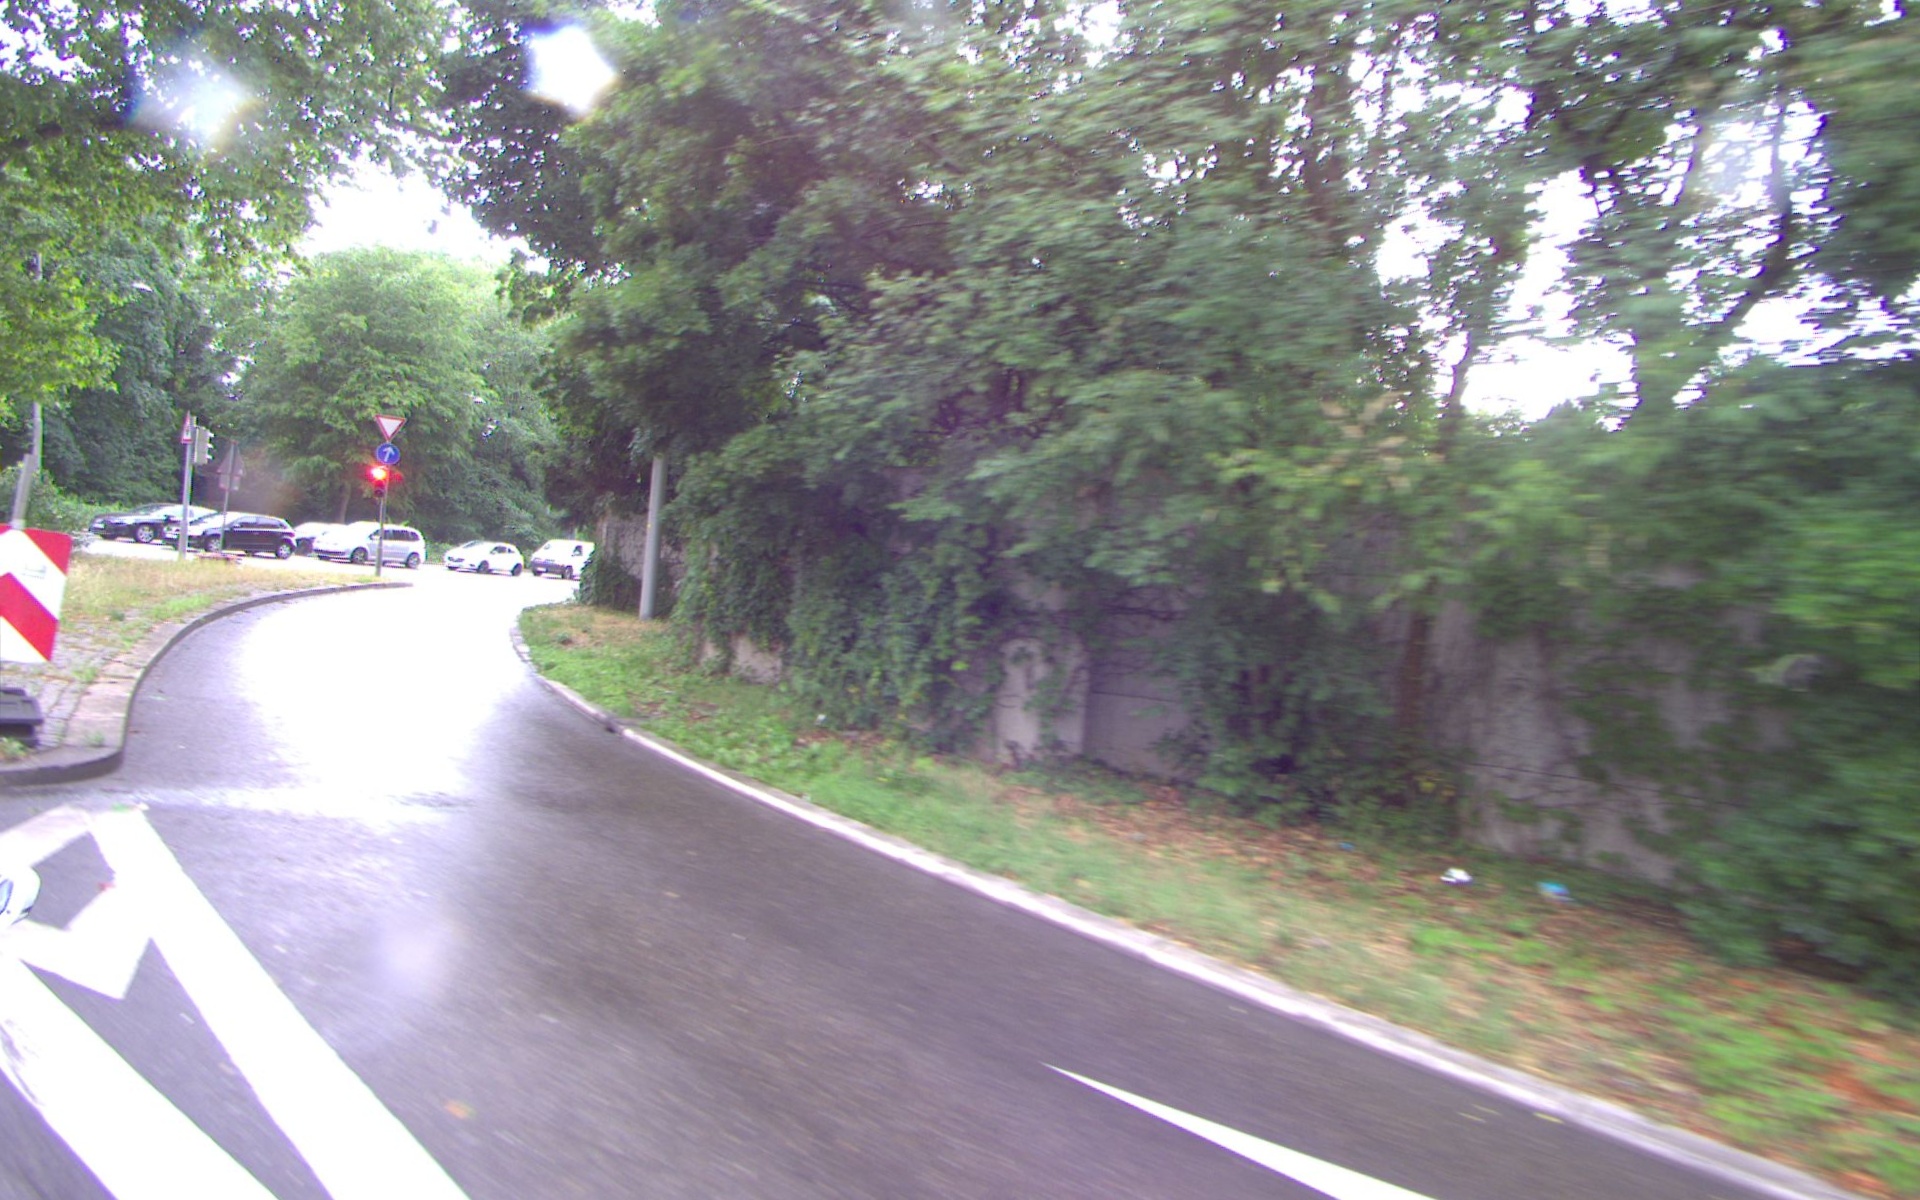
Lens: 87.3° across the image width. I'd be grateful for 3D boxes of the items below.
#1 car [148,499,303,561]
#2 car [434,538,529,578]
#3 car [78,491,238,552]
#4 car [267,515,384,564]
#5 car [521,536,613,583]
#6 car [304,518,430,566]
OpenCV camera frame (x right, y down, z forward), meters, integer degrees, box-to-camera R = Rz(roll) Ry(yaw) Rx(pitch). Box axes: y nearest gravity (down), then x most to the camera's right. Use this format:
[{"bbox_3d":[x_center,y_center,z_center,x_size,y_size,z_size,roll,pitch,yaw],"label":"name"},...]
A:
[{"bbox_3d":[-24.373,-2.286,33.533,1.641,1.503,3.867,6,0,17],"label":"car"},{"bbox_3d":[-21.728,-1.869,45.859,1.740,1.506,3.998,6,2,12],"label":"car"},{"bbox_3d":[-27.792,-2.693,35.050,1.843,1.504,4.002,7,0,12],"label":"car"},{"bbox_3d":[-25.819,-2.428,41.089,1.712,1.504,3.836,7,0,12],"label":"car"},{"bbox_3d":[-20.126,-2.031,51.802,1.872,1.946,4.862,7,0,12],"label":"car"},{"bbox_3d":[-23.132,-2.231,39.445,1.740,1.506,4.271,6,2,12],"label":"car"}]
